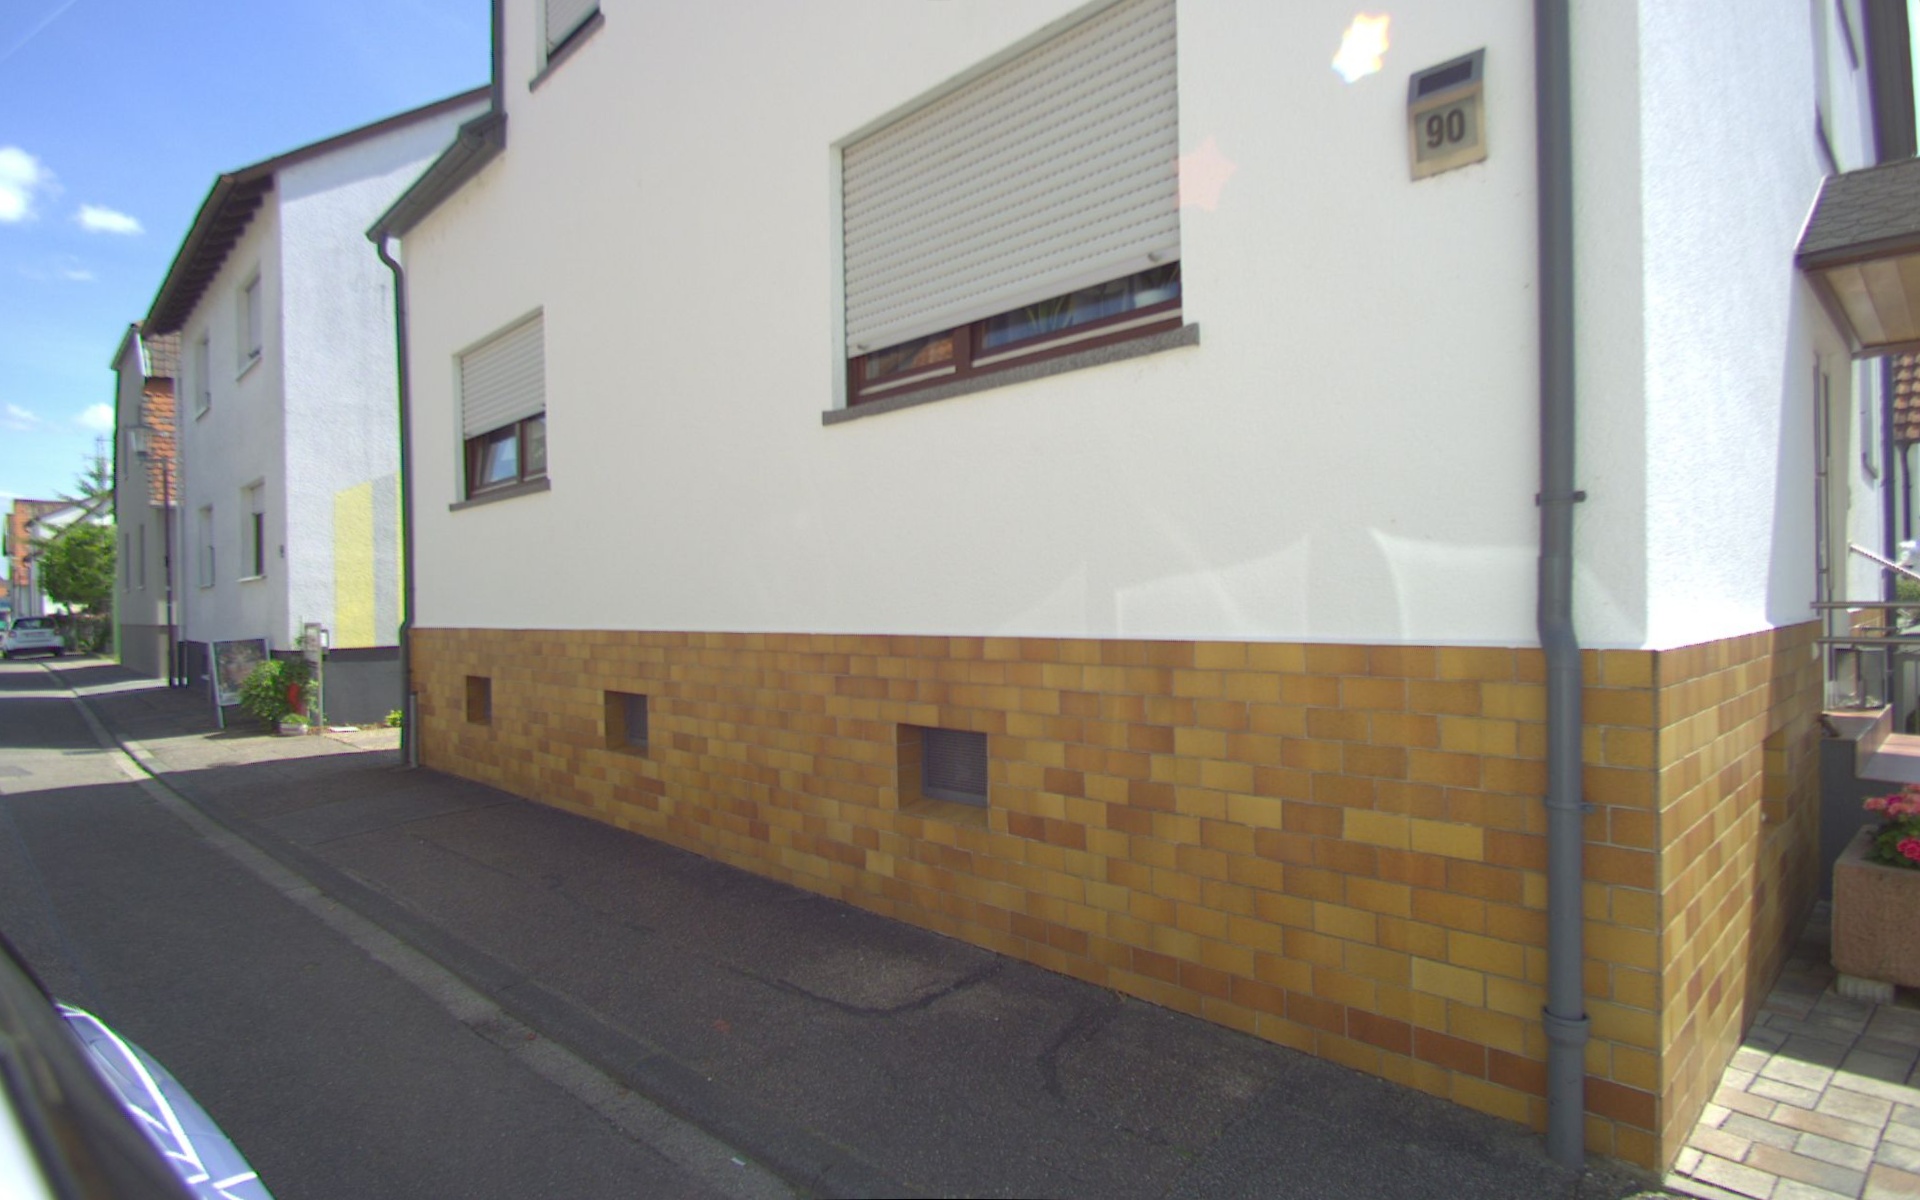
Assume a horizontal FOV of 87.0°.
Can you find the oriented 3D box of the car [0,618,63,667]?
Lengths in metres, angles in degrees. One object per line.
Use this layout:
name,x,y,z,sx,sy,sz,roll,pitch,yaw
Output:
car,-34.963,1.558,37.926,1.760,1.621,4.003,-5,3,-44
